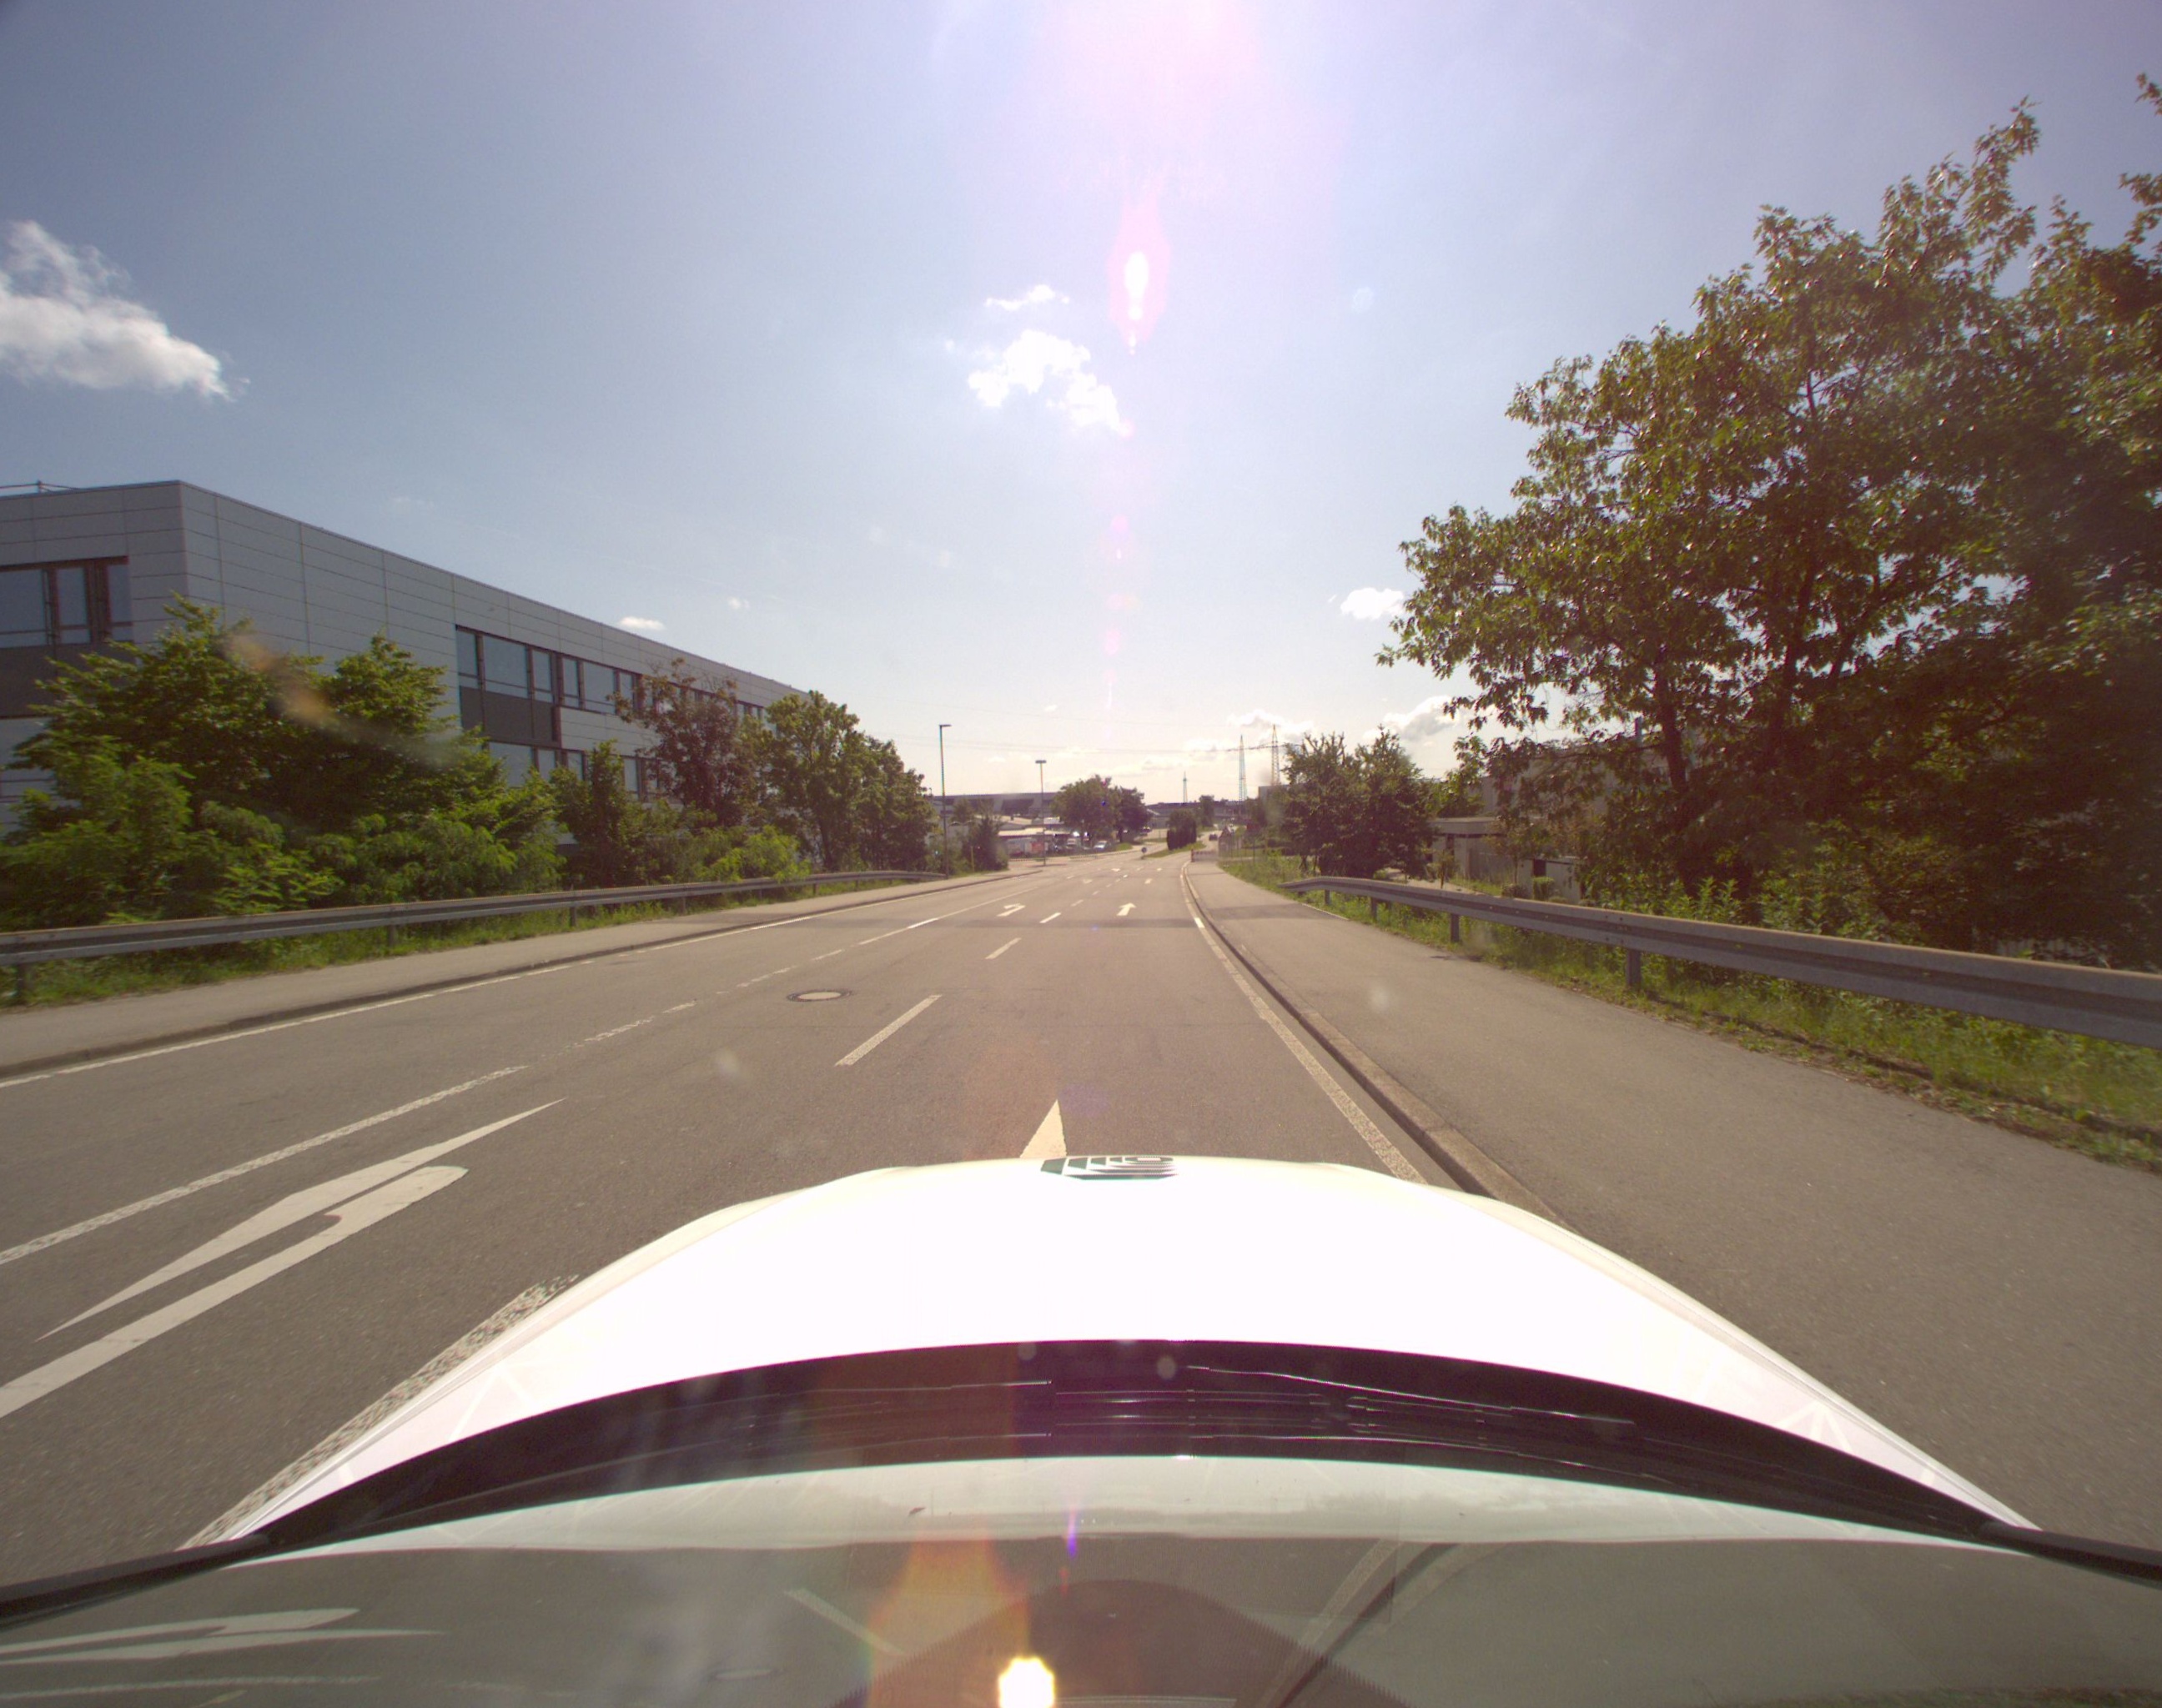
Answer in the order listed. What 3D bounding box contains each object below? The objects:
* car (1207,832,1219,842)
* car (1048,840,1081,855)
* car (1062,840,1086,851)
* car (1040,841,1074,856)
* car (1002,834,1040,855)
[{"bbox_3d":[27.378,-3.518,169.128,2.258,1.946,4.679,2,4,9],"label":"car"},{"bbox_3d":[-2.228,-0.928,107.962,3.948,1.903,2.013,1,3,34],"label":"car"},{"bbox_3d":[-1.185,-1.454,140.483,3.979,1.850,1.832,-2,1,-4],"label":"car"},{"bbox_3d":[-3.140,-0.745,106.165,3.948,1.780,2.013,1,3,33],"label":"car"},{"bbox_3d":[-7.563,-1.164,102.471,4.309,2.608,2.013,-1,1,35],"label":"car"}]
